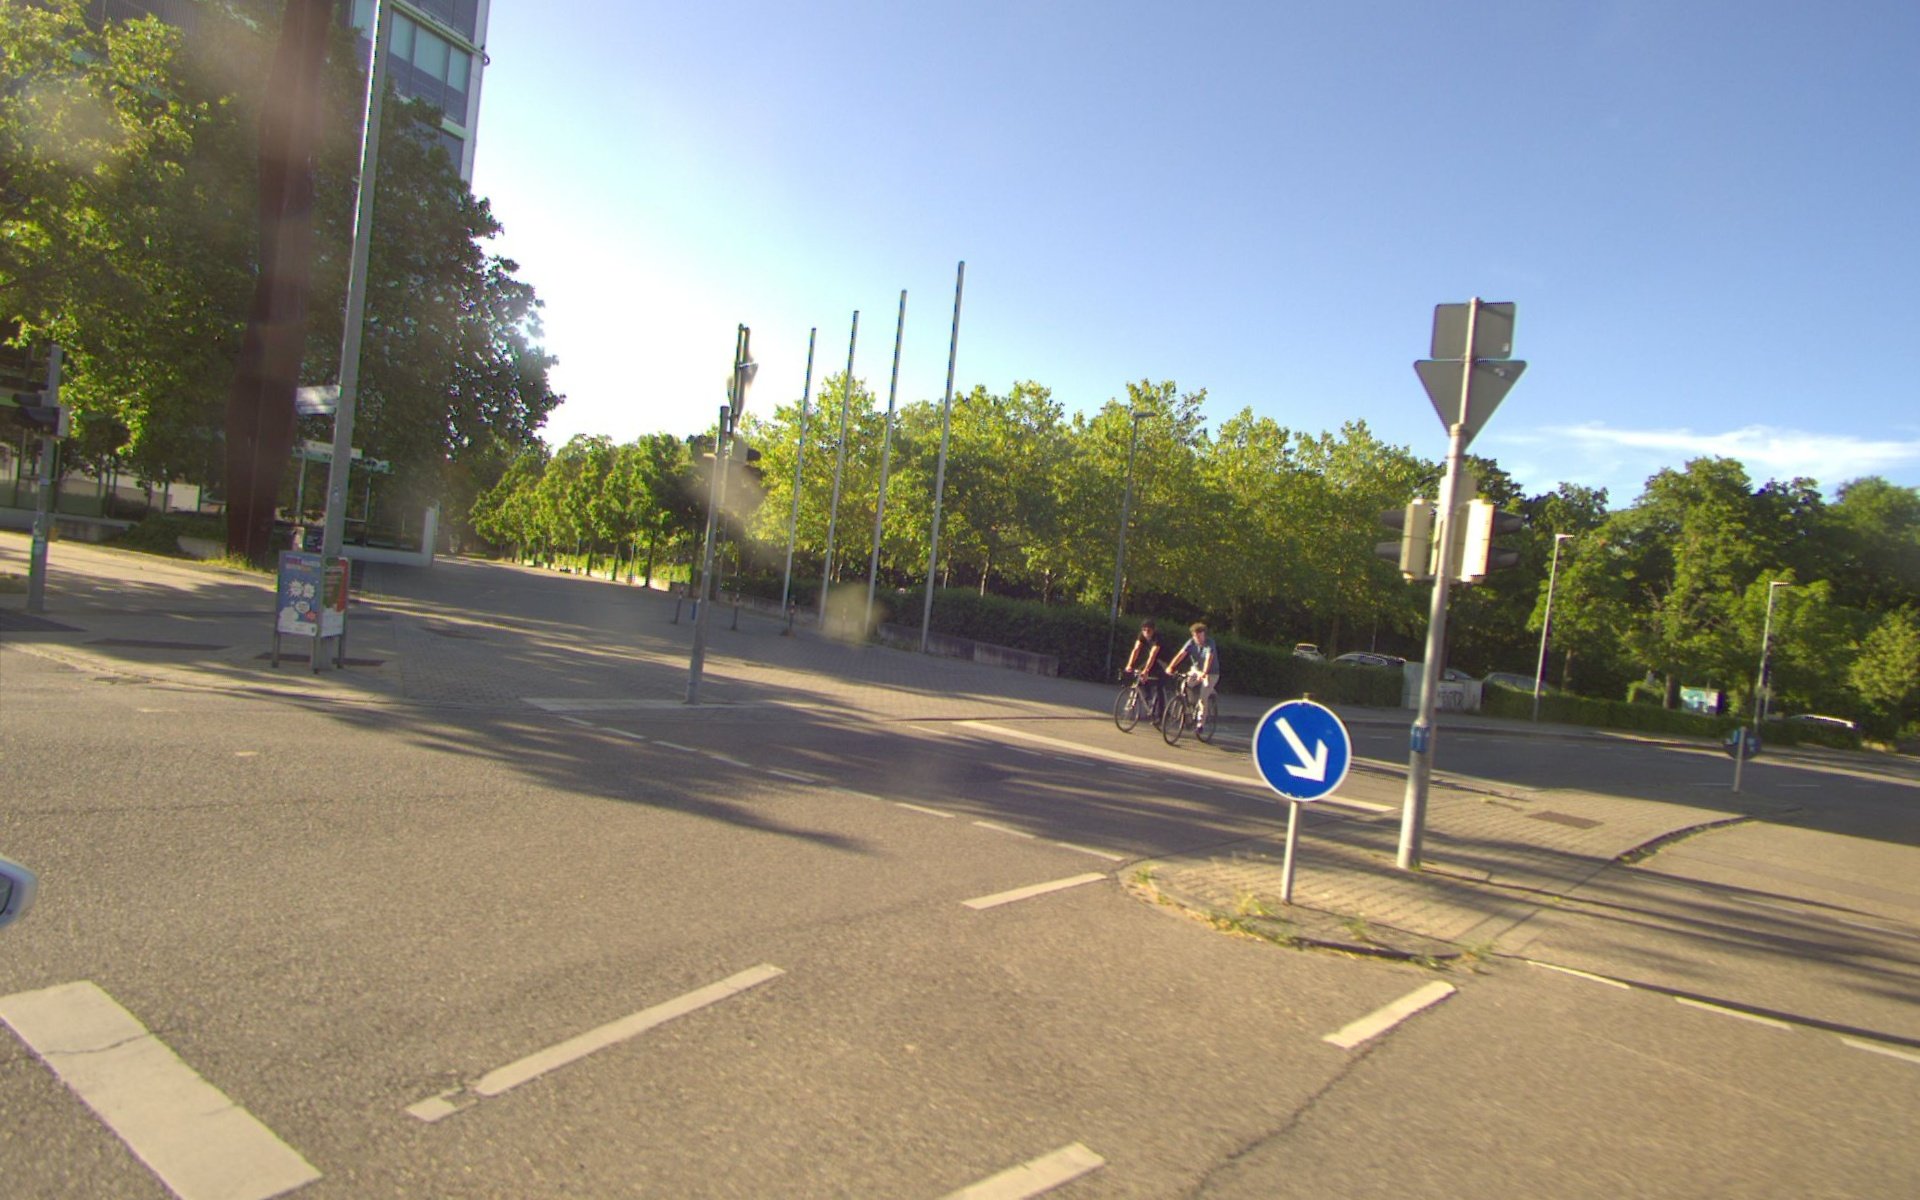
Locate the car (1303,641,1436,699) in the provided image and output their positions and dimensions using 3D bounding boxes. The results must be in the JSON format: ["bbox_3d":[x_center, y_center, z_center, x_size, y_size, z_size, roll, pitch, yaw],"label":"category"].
[{"bbox_3d":[14.826,2.526,36.632,1.980,1.483,3.967,8,-1,-32],"label":"car"}]

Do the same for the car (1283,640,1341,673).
[{"bbox_3d":[23.646,3.822,67.554,1.974,1.481,3.984,9,-3,45],"label":"car"}]

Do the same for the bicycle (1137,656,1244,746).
[{"bbox_3d":[3.514,1.521,15.188,0.543,1.219,2.094,8,1,40],"label":"bicycle"}]

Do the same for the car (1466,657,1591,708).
[{"bbox_3d":[23.594,3.400,41.862,1.978,1.483,3.970,8,-1,-29],"label":"car"}]

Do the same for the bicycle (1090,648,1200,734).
[{"bbox_3d":[2.976,1.463,15.996,0.544,1.219,2.092,8,1,43],"label":"bicycle"}]

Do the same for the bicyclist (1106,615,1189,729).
[{"bbox_3d":[2.979,1.143,15.970,0.782,1.674,0.873,8,2,42],"label":"bicyclist"}]

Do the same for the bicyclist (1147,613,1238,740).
[{"bbox_3d":[3.493,1.150,15.114,0.820,1.759,0.873,8,2,41],"label":"bicyclist"}]

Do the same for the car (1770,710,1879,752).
[{"bbox_3d":[46.499,7.043,54.181,1.983,1.483,3.980,8,-1,-35],"label":"car"}]
